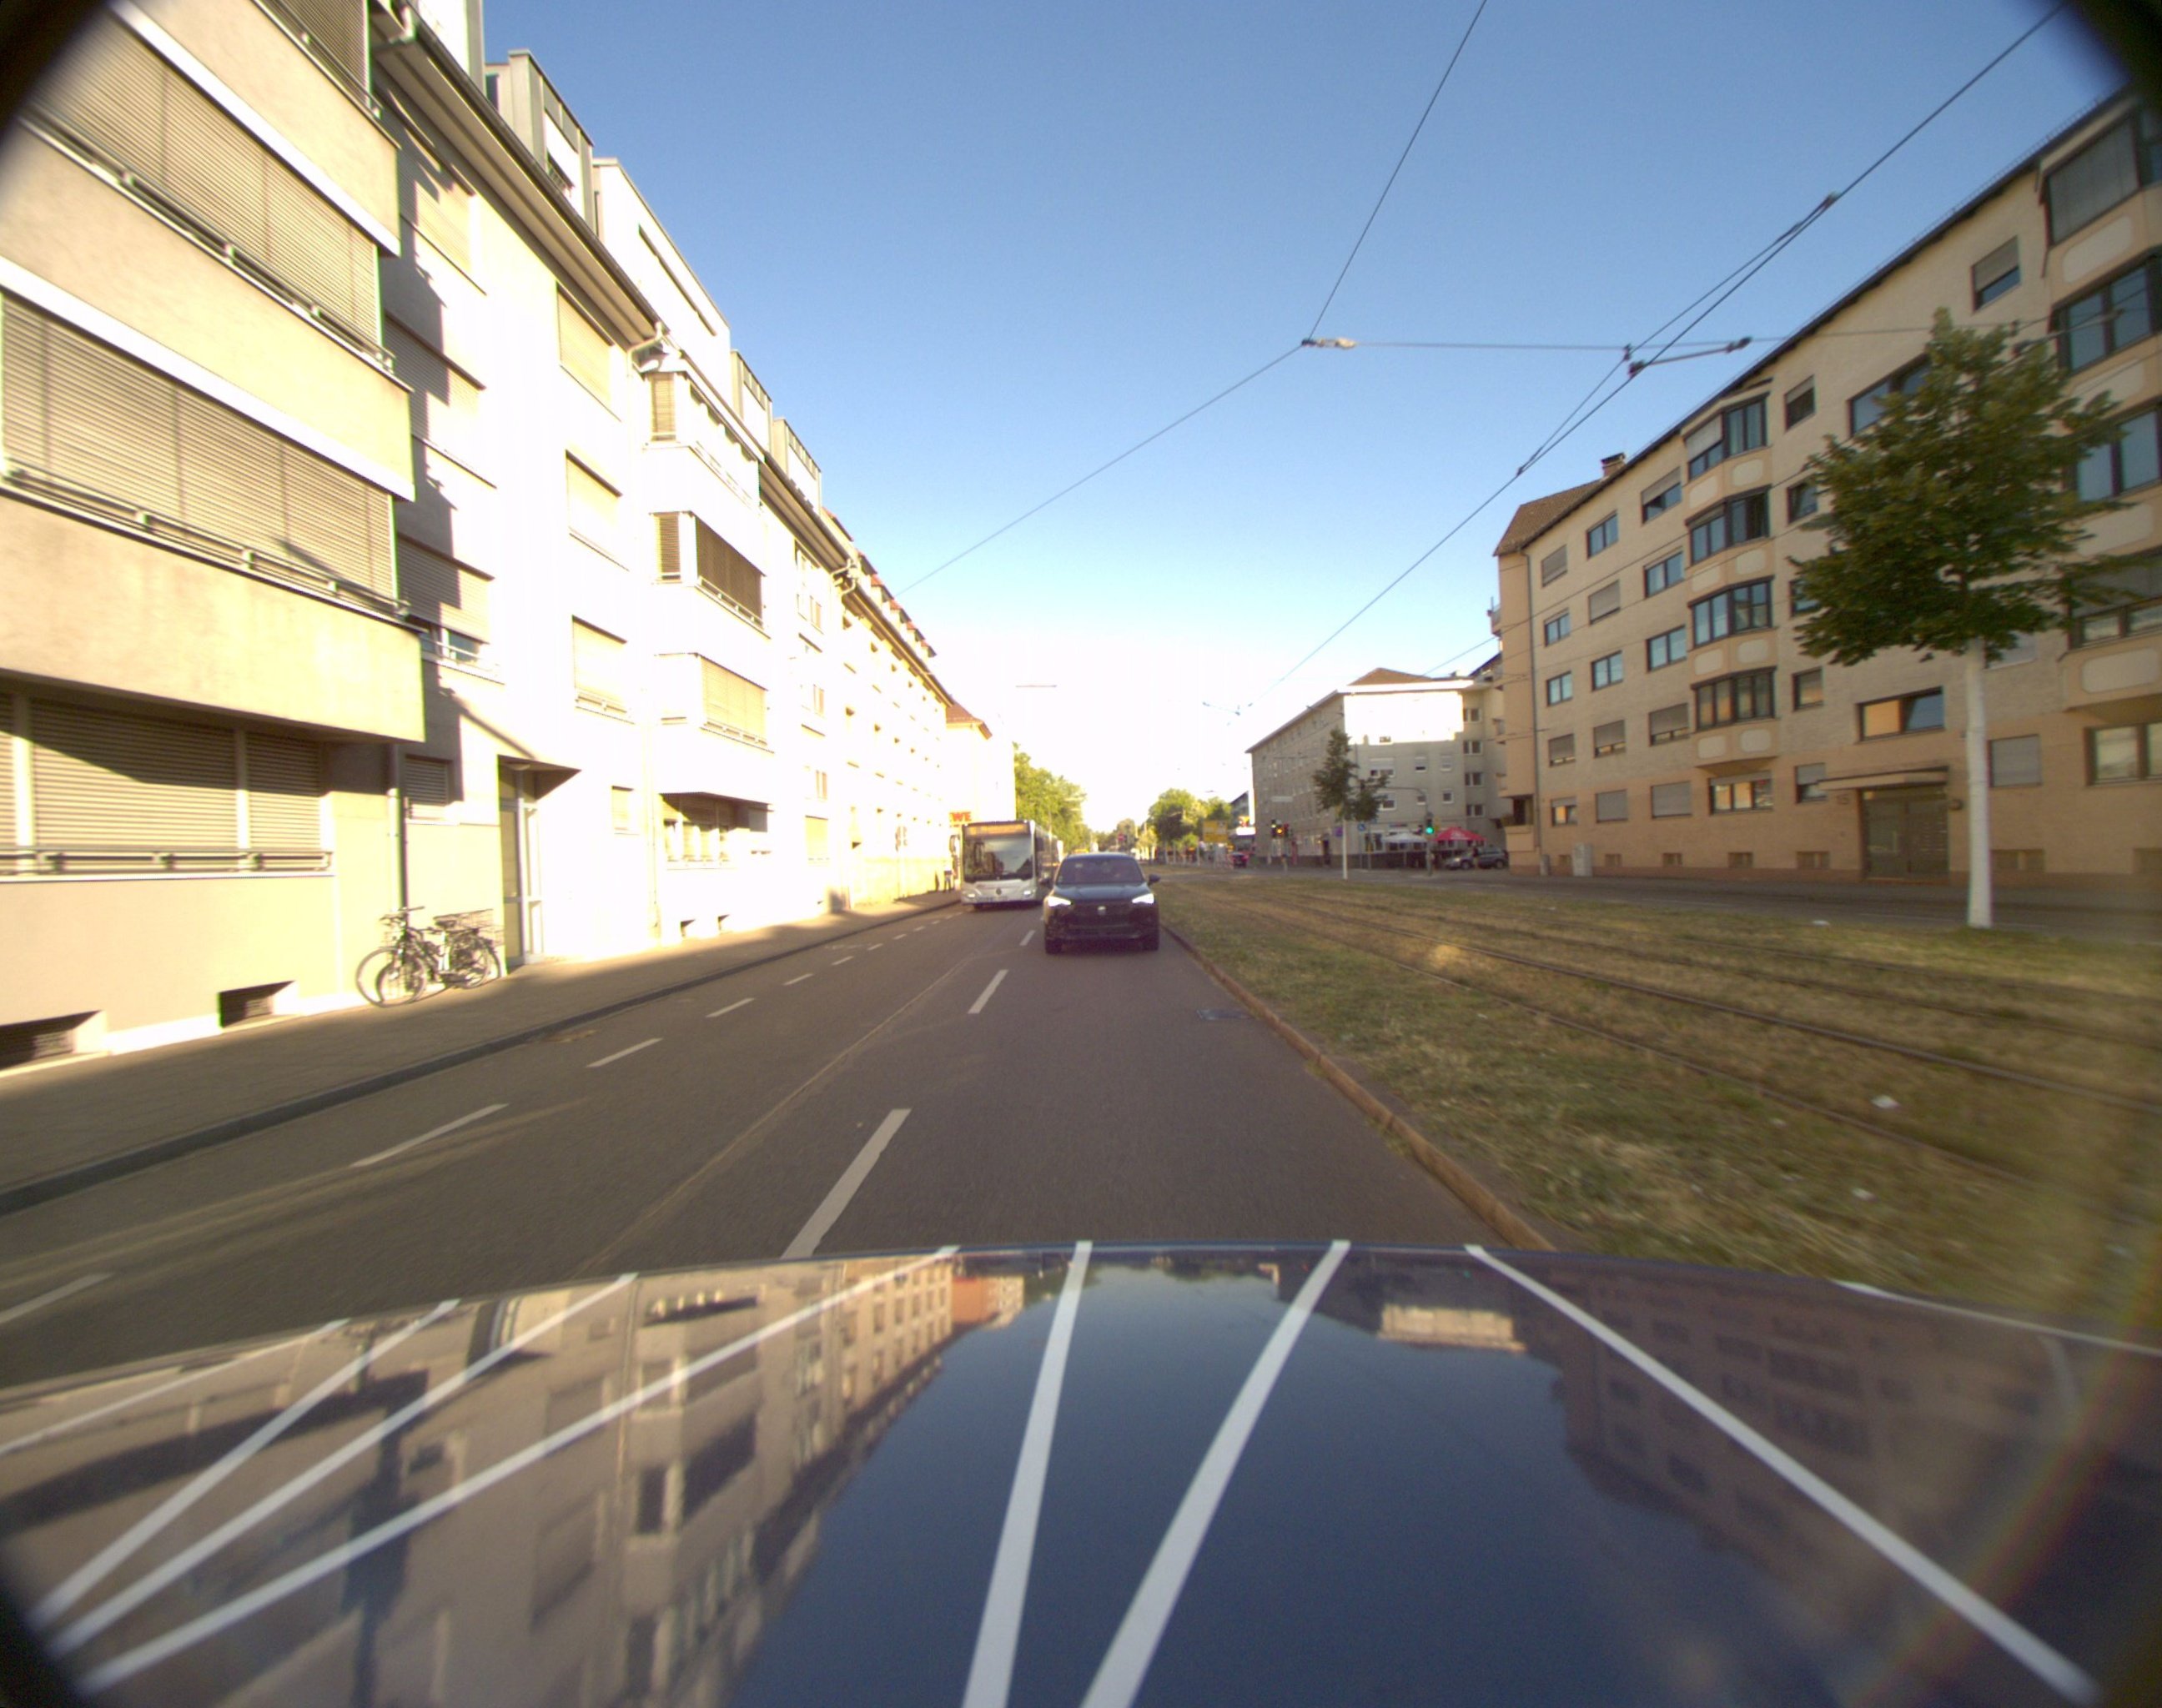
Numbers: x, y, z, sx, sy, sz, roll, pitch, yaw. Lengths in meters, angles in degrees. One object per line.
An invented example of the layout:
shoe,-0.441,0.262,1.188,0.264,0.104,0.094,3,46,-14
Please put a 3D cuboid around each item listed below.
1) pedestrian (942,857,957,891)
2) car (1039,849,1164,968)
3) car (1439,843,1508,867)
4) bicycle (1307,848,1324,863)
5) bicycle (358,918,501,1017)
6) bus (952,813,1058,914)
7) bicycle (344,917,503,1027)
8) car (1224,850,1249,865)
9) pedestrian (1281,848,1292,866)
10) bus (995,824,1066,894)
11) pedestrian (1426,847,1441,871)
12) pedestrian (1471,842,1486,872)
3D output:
pedestrian,-6.899,1.046,39.922,0.648,1.721,0.558,-1,1,1
car,0.401,0.814,13.497,1.787,1.615,4.216,-3,2,3
car,28.906,0.056,56.072,3.998,1.499,1.999,-3,1,-3
bicycle,22.512,0.109,72.866,0.579,1.370,3.236,-2,0,0
bicycle,-8.031,1.360,9.462,0.279,0.965,1.730,0,0,0
bus,-2.554,0.274,29.317,2.731,3.059,10.600,-3,0,1
bicycle,-7.663,1.325,8.956,0.360,1.026,1.730,0,0,0
car,17.607,0.374,86.232,1.922,1.581,4.469,-3,0,1
pedestrian,20.306,0.317,75.157,0.742,1.731,1.226,-3,1,0
bus,-2.390,0.221,39.941,2.712,3.059,10.600,-3,0,1
pedestrian,22.556,0.339,48.581,0.624,1.482,0.582,-3,1,0
pedestrian,24.201,0.168,46.250,0.634,1.760,0.826,-3,1,22
